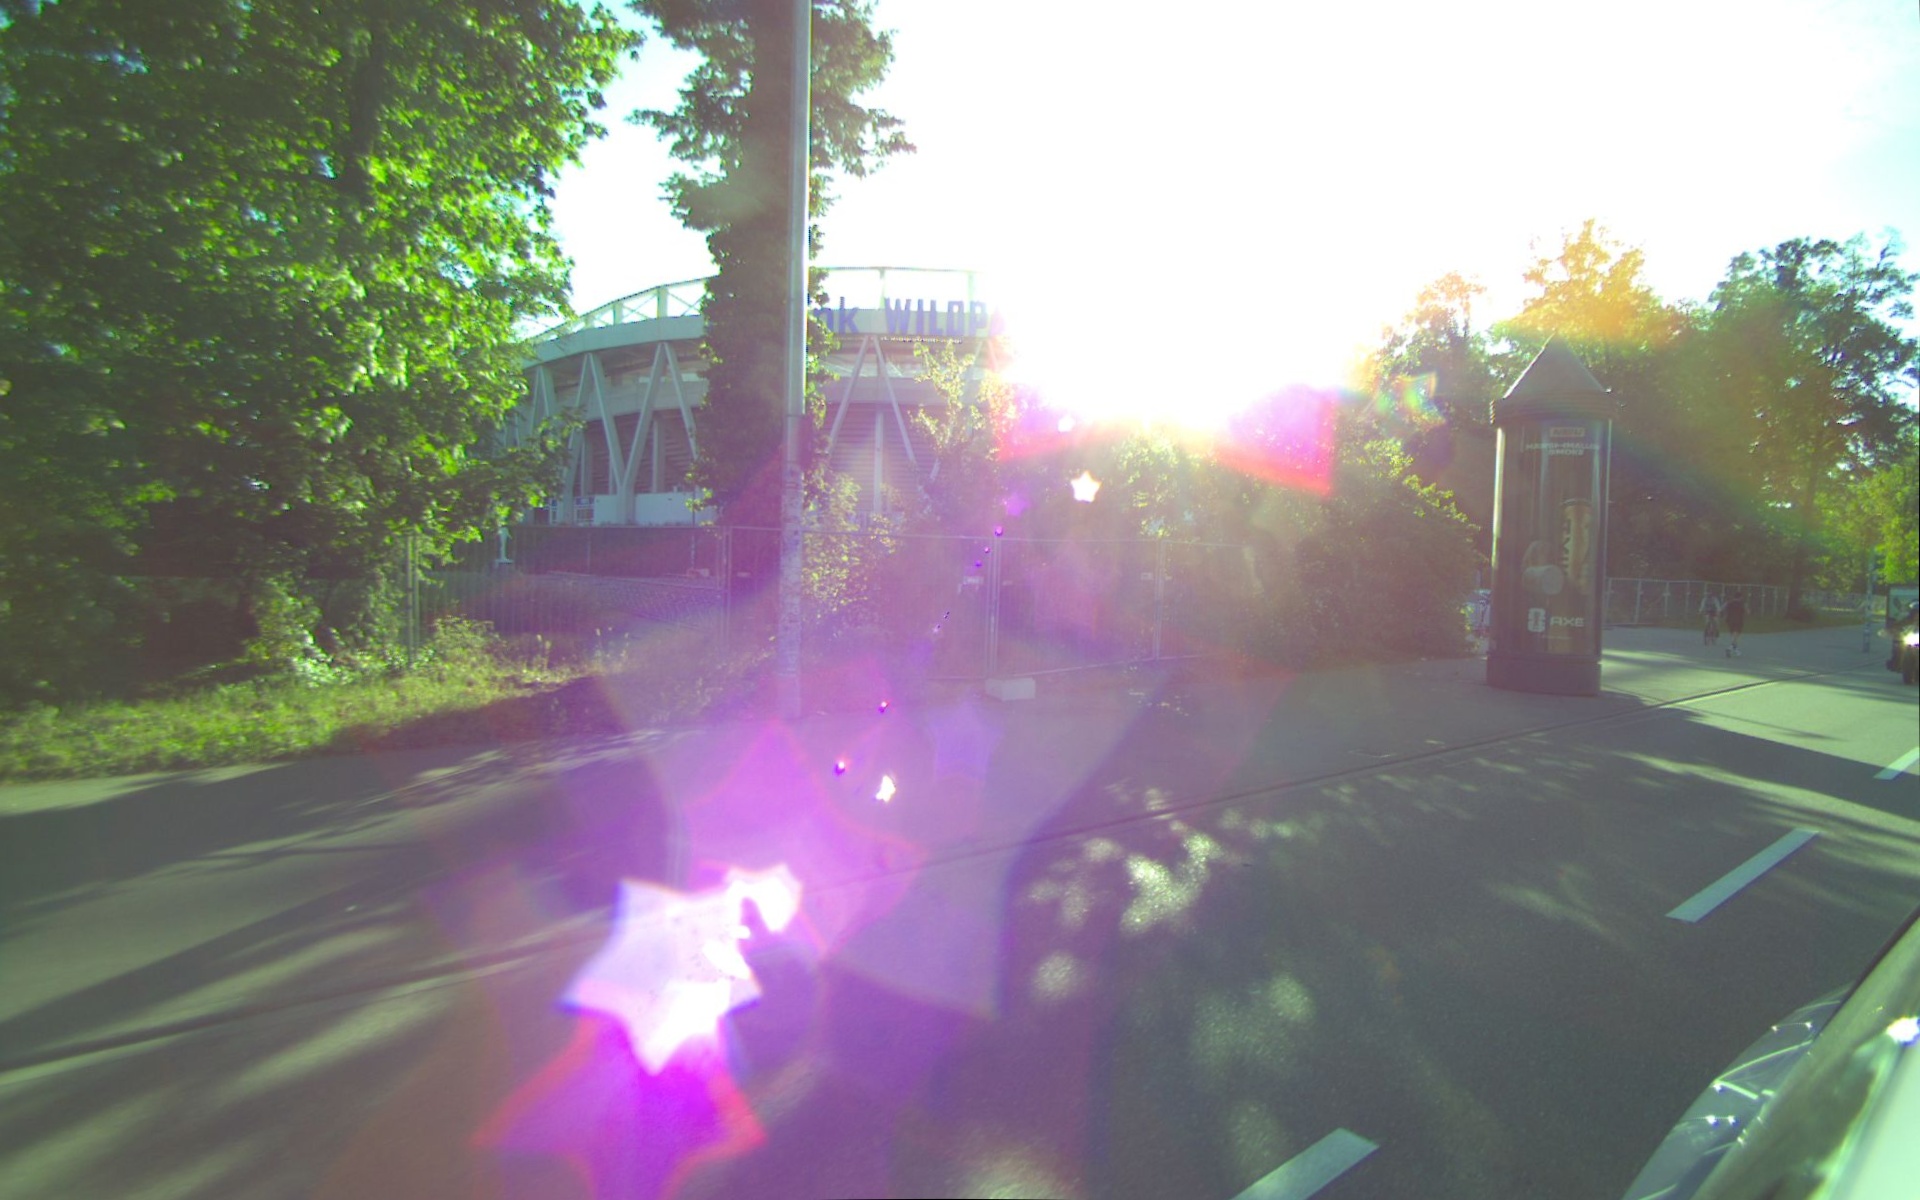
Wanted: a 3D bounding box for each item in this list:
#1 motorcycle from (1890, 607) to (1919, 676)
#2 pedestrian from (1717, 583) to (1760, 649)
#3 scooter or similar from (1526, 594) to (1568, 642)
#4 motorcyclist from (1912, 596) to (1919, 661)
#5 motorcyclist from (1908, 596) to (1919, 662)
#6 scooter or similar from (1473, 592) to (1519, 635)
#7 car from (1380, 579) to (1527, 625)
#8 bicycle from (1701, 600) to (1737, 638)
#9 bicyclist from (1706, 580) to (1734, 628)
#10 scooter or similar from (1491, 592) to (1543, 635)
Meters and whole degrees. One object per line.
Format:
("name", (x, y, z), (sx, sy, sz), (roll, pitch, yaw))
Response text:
("motorcycle", (19.032, 0.782, 19.842), (2.912, 1.266, 0.915), (0, 1, -42))
("pedestrian", (20.450, 0.403, 26.577), (0.865, 1.709, 0.628), (0, 0, -32))
("scooter or similar", (15.063, 0.458, 25.957), (1.381, 1.186, 0.282), (1, 2, -33))
("motorcyclist", (19.527, 0.569, 20.216), (0.812, 1.280, 0.670), (-1, 0, -42))
("motorcyclist", (18.894, 0.557, 19.628), (0.812, 1.280, 0.670), (0, 0, -42))
("scooter or similar", (15.661, 0.369, 29.595), (0.386, 1.181, 1.251), (0, 2, -16))
("car", (17.516, 0.028, 36.133), (1.785, 1.395, 4.390), (0, 3, -33))
("bicycle", (24.047, 0.582, 32.043), (1.832, 1.151, 0.555), (0, 2, -42))
("bicyclist", (24.071, 0.113, 32.049), (0.846, 1.487, 0.521), (0, 2, -42))
("scooter or similar", (16.339, 0.378, 29.711), (0.386, 1.160, 1.271), (-1, 4, -33))
